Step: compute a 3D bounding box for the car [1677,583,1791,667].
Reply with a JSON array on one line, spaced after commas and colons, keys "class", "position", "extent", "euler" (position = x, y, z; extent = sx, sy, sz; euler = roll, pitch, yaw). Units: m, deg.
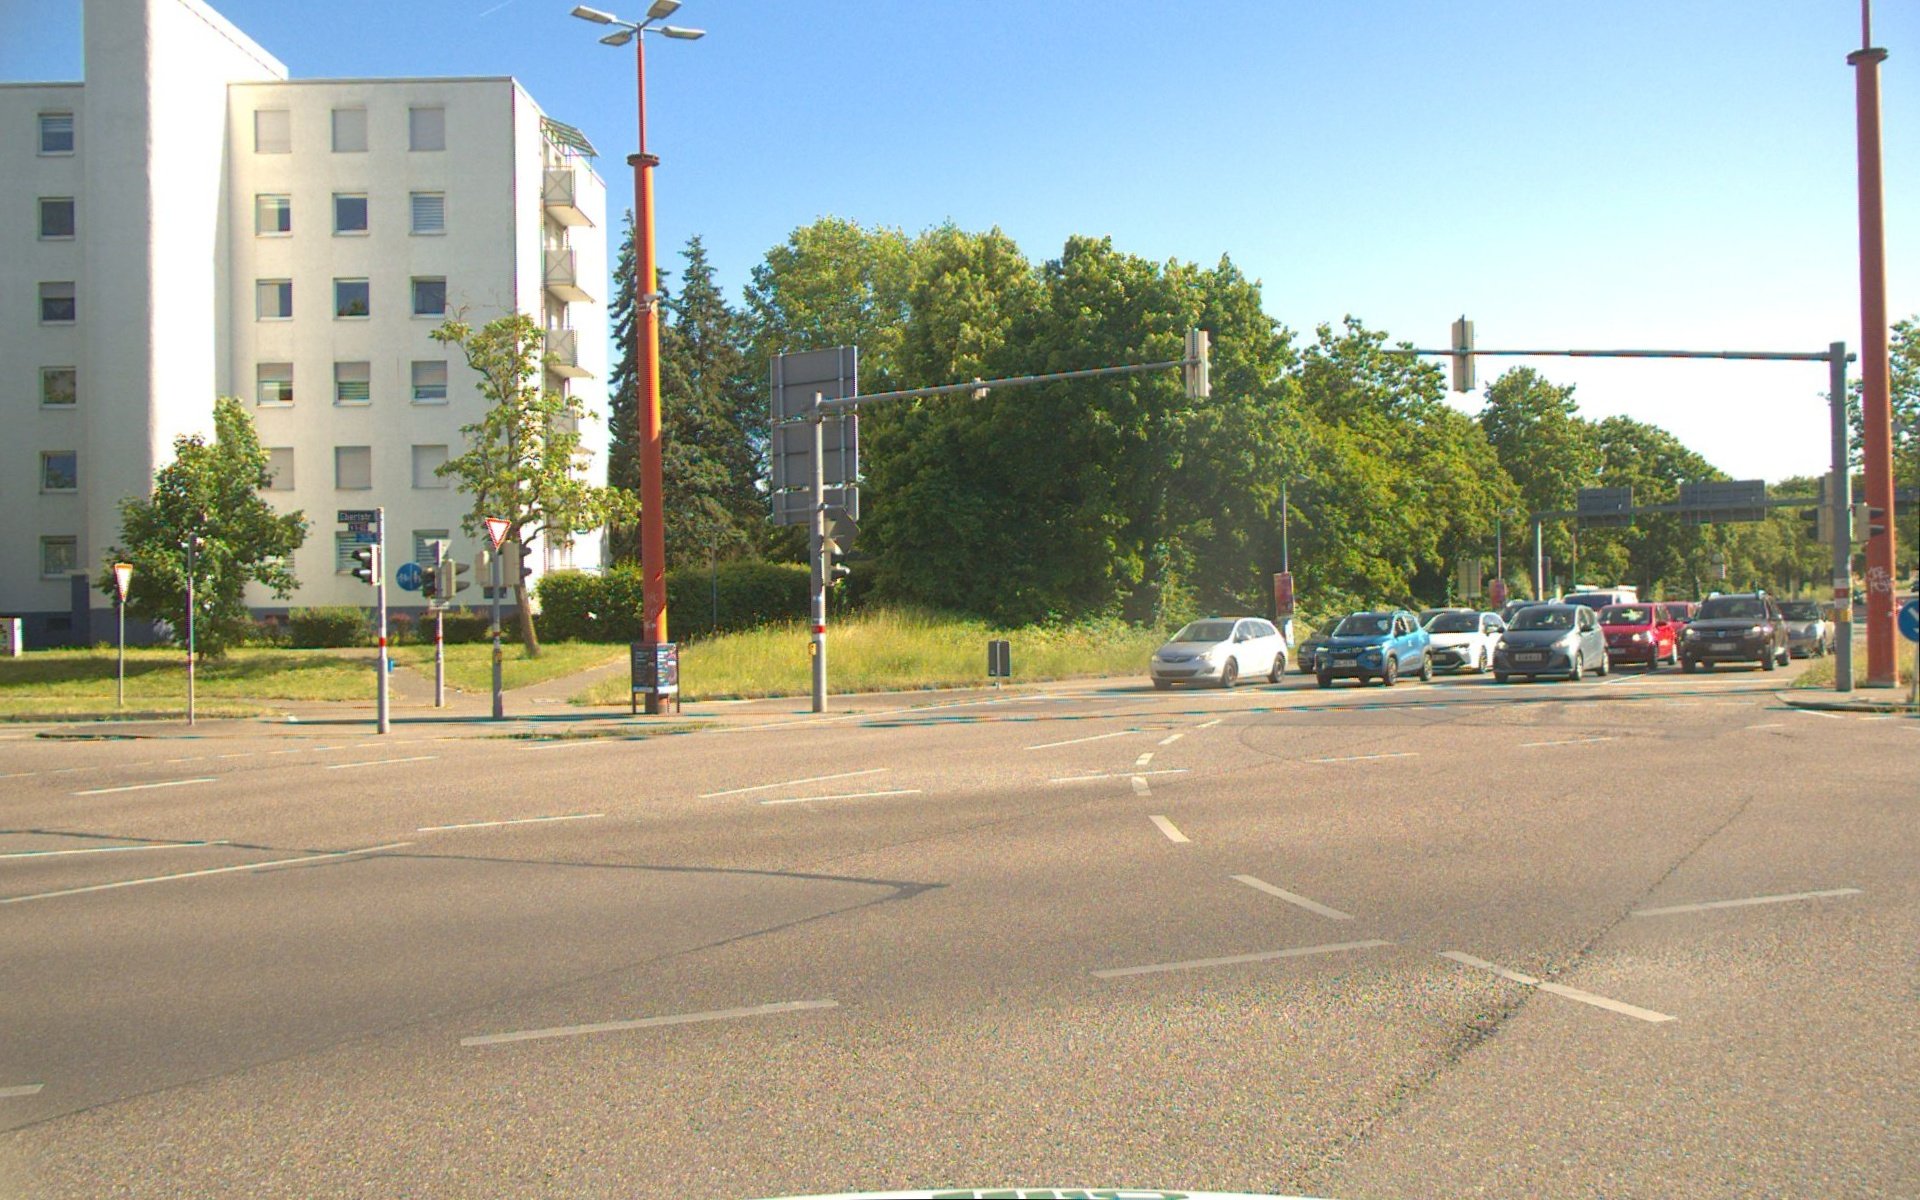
[{"class": "car", "position": [16.759, 0.515, 35.730], "extent": [1.761, 1.655, 4.134], "euler": [-3, -1, 31]}]

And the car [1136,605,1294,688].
[{"class": "car", "position": [5.663, 0.995, 36.376], "extent": [1.843, 1.681, 4.207], "euler": [-3, -2, 33]}]

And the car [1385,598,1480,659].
[{"class": "car", "position": [14.246, 0.879, 49.777], "extent": [1.745, 1.681, 3.965], "euler": [-4, -3, 30]}]

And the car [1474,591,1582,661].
[{"class": "car", "position": [15.595, 0.694, 45.294], "extent": [1.841, 1.815, 3.988], "euler": [-2, -1, 33]}]

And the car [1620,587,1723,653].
[{"class": "car", "position": [19.005, 0.520, 44.094], "extent": [1.867, 1.658, 3.988], "euler": [-1, -1, 33]}]

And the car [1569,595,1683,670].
[{"class": "car", "position": [15.775, 0.743, 39.058], "extent": [1.840, 1.579, 3.992], "euler": [-5, -2, 30]}]

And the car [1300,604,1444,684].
[{"class": "car", "position": [8.703, 0.896, 34.736], "extent": [1.769, 1.542, 3.849], "euler": [-3, -1, 32]}]

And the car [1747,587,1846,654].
[{"class": "car", "position": [21.157, 0.490, 41.767], "extent": [1.851, 1.570, 3.990], "euler": [-3, -1, 32]}]

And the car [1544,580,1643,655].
[{"class": "car", "position": [19.611, 0.518, 51.081], "extent": [1.926, 2.193, 5.069], "euler": [-2, -1, 31]}]

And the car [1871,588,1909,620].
[{"class": "car", "position": [56.239, 0.229, 100.071], "extent": [1.878, 1.878, 3.955], "euler": [-1, 0, 28]}]

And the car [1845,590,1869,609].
[{"class": "car", "position": [89.287, -0.029, 164.621], "extent": [1.881, 1.878, 3.951], "euler": [-1, -1, 32]}]

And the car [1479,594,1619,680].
[{"class": "car", "position": [12.123, 0.722, 33.893], "extent": [1.840, 1.577, 4.018], "euler": [-3, -1, 32]}]

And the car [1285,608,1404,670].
[{"class": "car", "position": [10.394, 1.026, 44.502], "extent": [1.851, 1.539, 3.989], "euler": [-3, -1, 33]}]

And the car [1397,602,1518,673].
[{"class": "car", "position": [12.043, 0.870, 39.881], "extent": [1.866, 1.582, 3.992], "euler": [-2, -1, 30]}]
